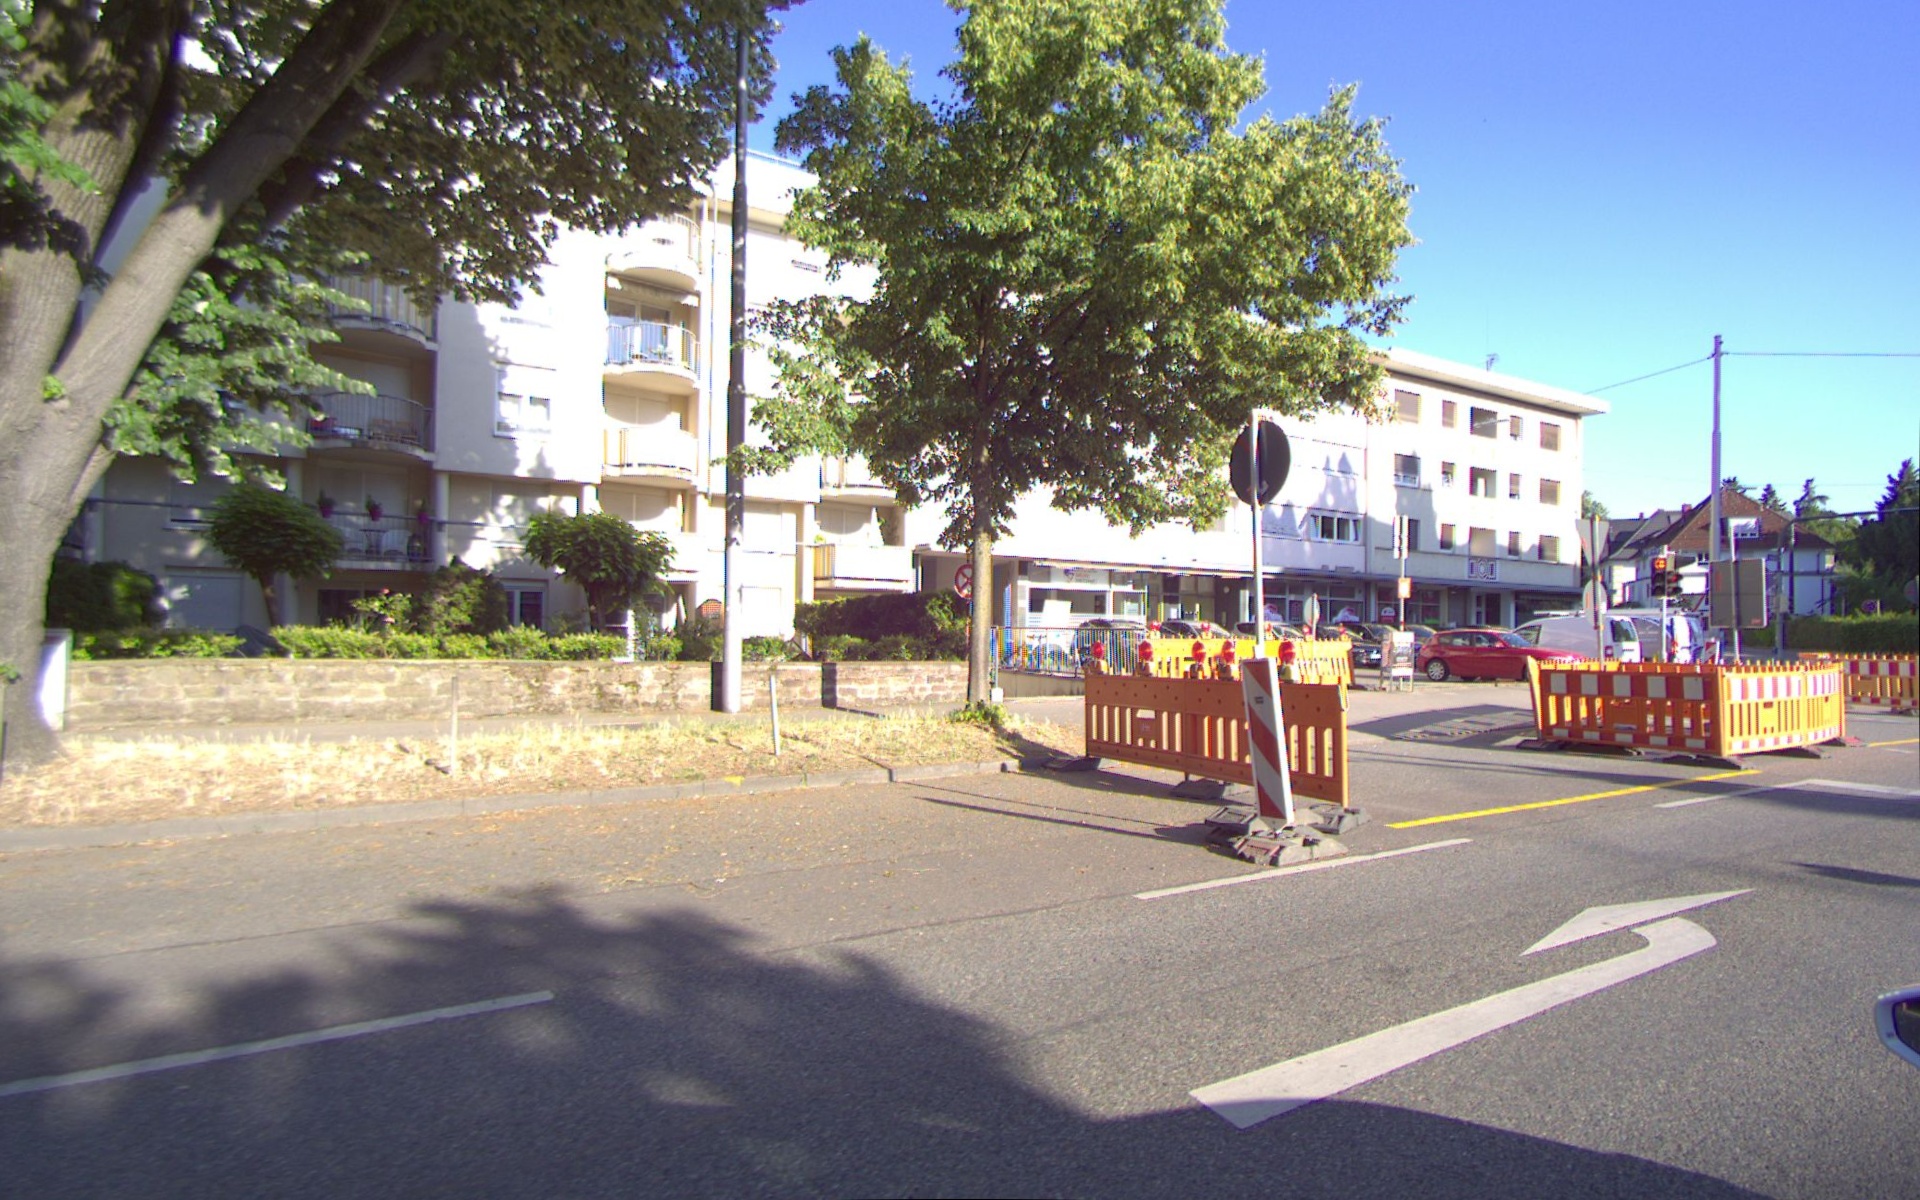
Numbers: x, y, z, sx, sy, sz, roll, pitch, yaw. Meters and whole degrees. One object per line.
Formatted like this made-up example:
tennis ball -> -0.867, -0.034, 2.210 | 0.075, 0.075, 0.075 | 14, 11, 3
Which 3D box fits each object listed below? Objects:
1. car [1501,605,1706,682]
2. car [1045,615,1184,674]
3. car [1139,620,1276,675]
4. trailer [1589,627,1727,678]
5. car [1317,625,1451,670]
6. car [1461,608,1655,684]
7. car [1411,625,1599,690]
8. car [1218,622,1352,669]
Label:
car -> 18.745, 1.191, 29.501 | 2.093, 1.991, 4.643 | 1, 0, -31
car -> 4.533, 1.279, 30.116 | 1.974, 1.532, 4.297 | 1, 0, -27
car -> 7.855, 1.456, 32.278 | 1.974, 1.530, 4.297 | 1, 0, -27
trailer -> 22.080, 1.630, 31.870 | 1.556, 1.415, 3.237 | 1, 0, -31
car -> 15.456, 1.690, 36.861 | 1.974, 1.417, 4.297 | 1, 0, -27
car -> 16.643, 1.209, 28.178 | 1.974, 1.876, 4.298 | 1, 0, -26
car -> 14.466, 1.465, 26.859 | 1.979, 1.498, 3.967 | 1, 0, -33
car -> 11.137, 1.518, 34.724 | 1.974, 1.417, 4.297 | 1, 0, -27
